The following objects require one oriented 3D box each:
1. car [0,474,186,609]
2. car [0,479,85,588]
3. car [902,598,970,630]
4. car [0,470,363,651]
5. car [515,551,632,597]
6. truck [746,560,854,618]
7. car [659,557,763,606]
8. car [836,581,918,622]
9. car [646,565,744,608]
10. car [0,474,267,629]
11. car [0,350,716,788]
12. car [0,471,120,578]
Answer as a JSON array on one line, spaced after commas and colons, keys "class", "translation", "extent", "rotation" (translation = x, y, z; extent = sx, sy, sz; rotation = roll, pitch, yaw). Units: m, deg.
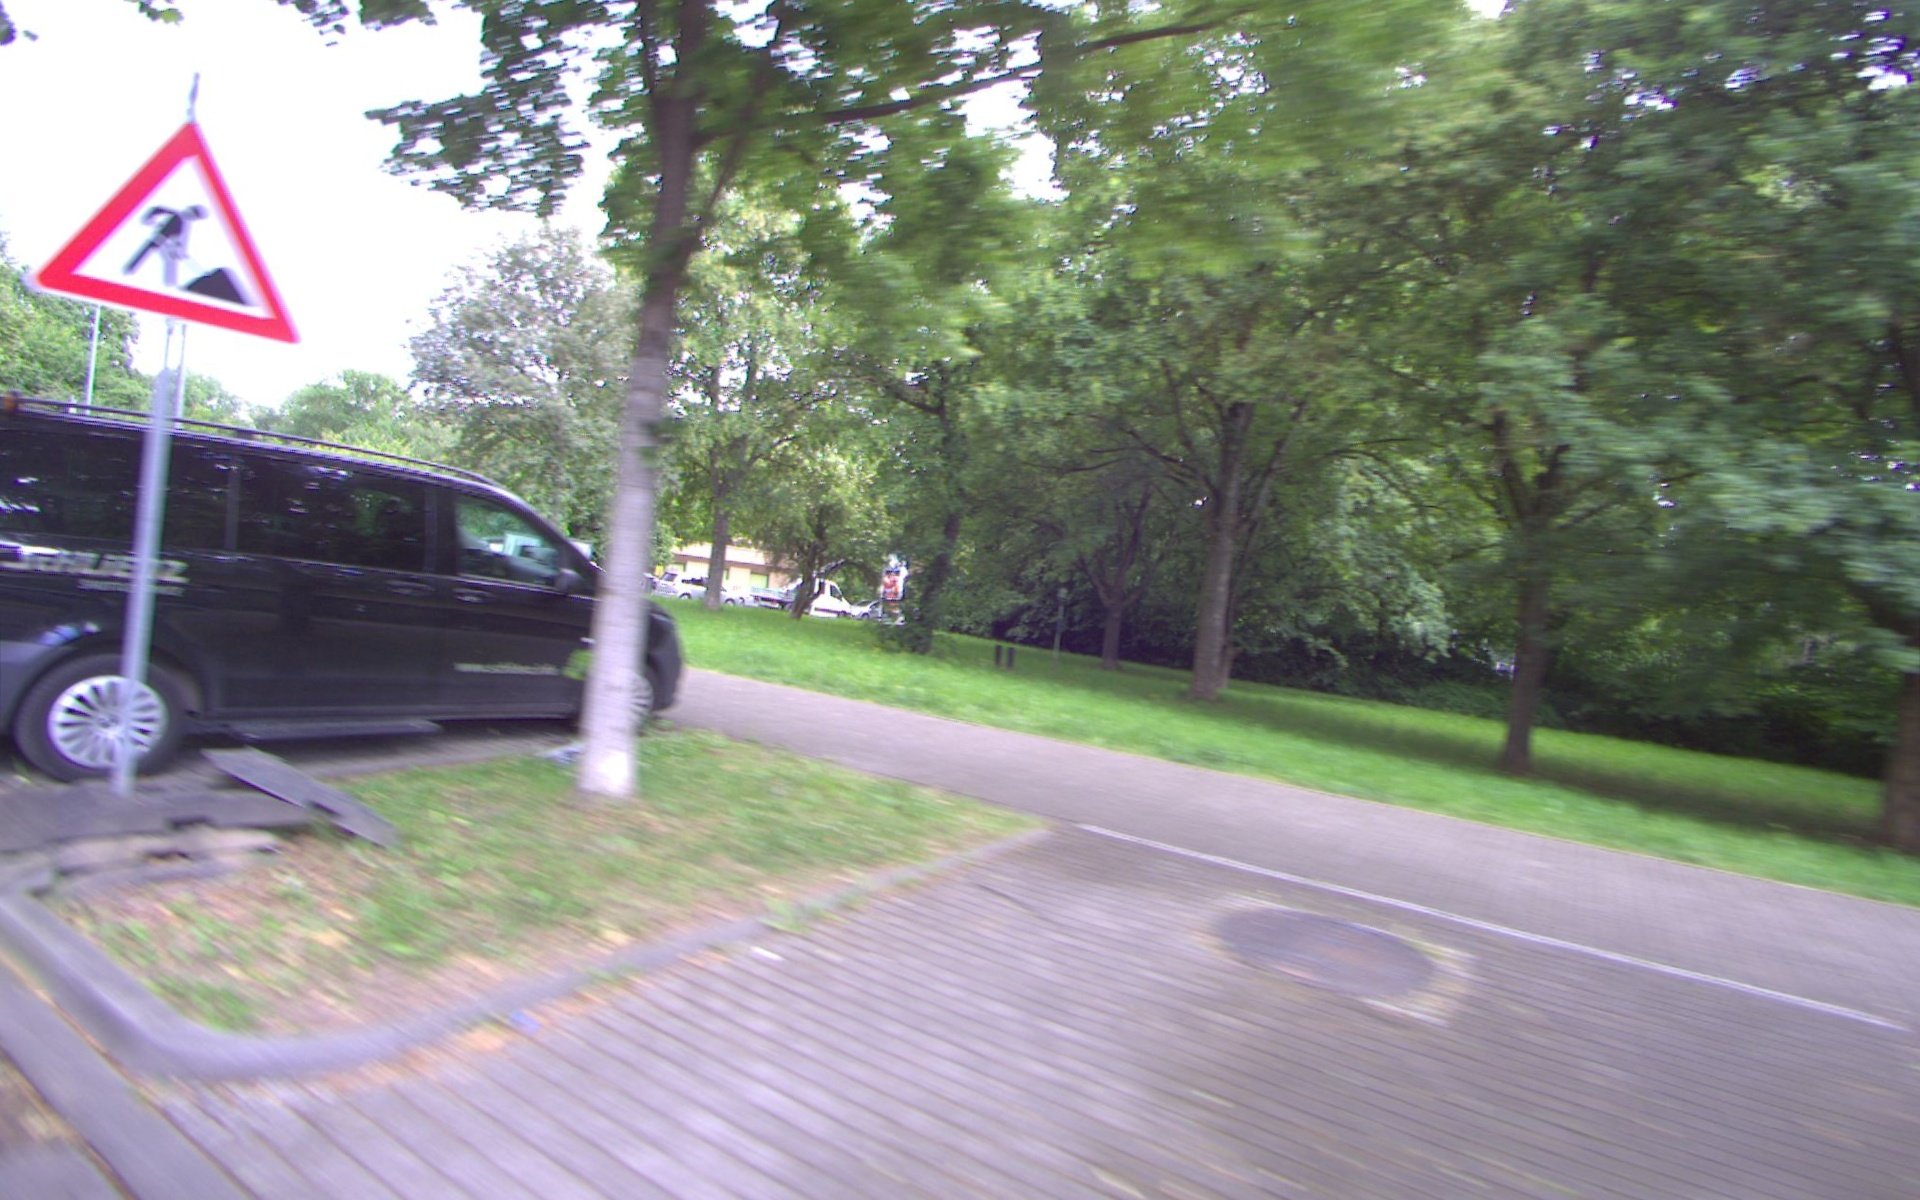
[{"class": "car", "translation": [-12.295, -0.817, 12.380], "extent": [1.782, 1.547, 3.987], "rotation": [6, 1, 33]}, {"class": "car", "translation": [-14.625, -1.076, 13.468], "extent": [1.904, 1.448, 3.988], "rotation": [6, 1, 32]}, {"class": "car", "translation": [-1.454, 0.875, 62.546], "extent": [1.678, 1.545, 4.279], "rotation": [6, -1, 39]}, {"class": "car", "translation": [-8.342, -0.382, 9.760], "extent": [1.765, 1.531, 3.960], "rotation": [7, 2, 34]}, {"class": "car", "translation": [-16.690, -1.105, 43.601], "extent": [1.678, 1.445, 4.424], "rotation": [6, -1, 39]}, {"class": "truck", "translation": [-8.486, -0.564, 53.860], "extent": [2.161, 2.456, 5.502], "rotation": [7, 0, 39]}, {"class": "car", "translation": [-13.830, -0.979, 56.167], "extent": [2.106, 2.082, 5.315], "rotation": [7, 0, 39]}, {"class": "car", "translation": [-5.399, 0.151, 65.837], "extent": [2.106, 2.082, 5.315], "rotation": [7, 0, 39]}, {"class": "car", "translation": [-12.717, -0.624, 48.461], "extent": [1.678, 1.545, 4.279], "rotation": [6, -1, 39]}, {"class": "car", "translation": [-10.190, -0.578, 10.944], "extent": [1.735, 1.531, 3.959], "rotation": [7, 2, 35]}, {"class": "car", "translation": [-4.331, -0.165, 6.799], "extent": [2.131, 2.040, 4.952], "rotation": [7, 2, 34]}, {"class": "car", "translation": [-16.111, -1.336, 15.983], "extent": [1.789, 1.578, 3.833], "rotation": [6, 1, 32]}]
